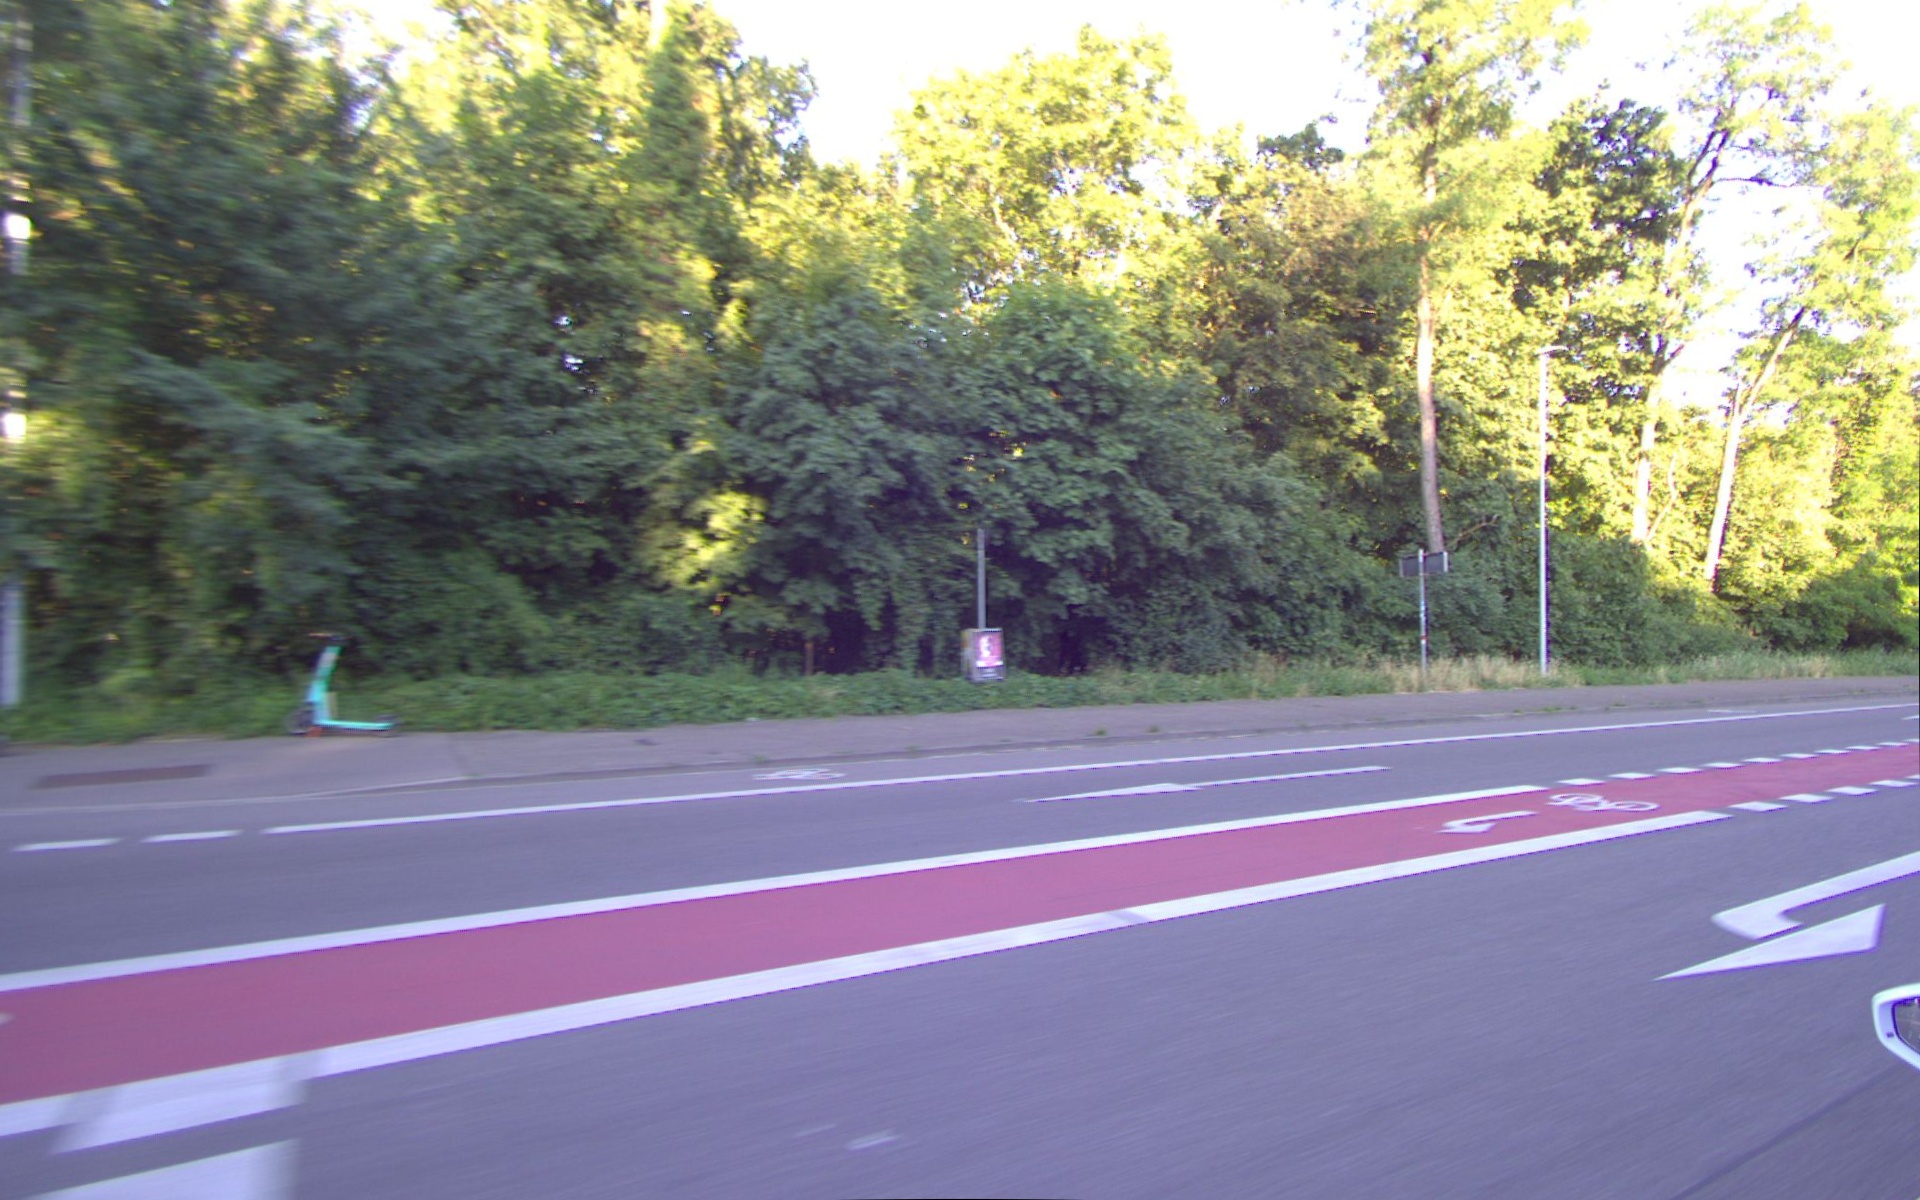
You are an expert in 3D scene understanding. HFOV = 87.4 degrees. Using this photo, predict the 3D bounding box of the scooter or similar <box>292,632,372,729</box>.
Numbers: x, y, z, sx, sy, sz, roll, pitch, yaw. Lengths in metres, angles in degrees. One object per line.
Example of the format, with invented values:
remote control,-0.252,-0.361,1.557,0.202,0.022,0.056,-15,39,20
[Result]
scooter or similar,-7.427,0.925,11.872,0.885,1.082,0.494,0,-1,35
